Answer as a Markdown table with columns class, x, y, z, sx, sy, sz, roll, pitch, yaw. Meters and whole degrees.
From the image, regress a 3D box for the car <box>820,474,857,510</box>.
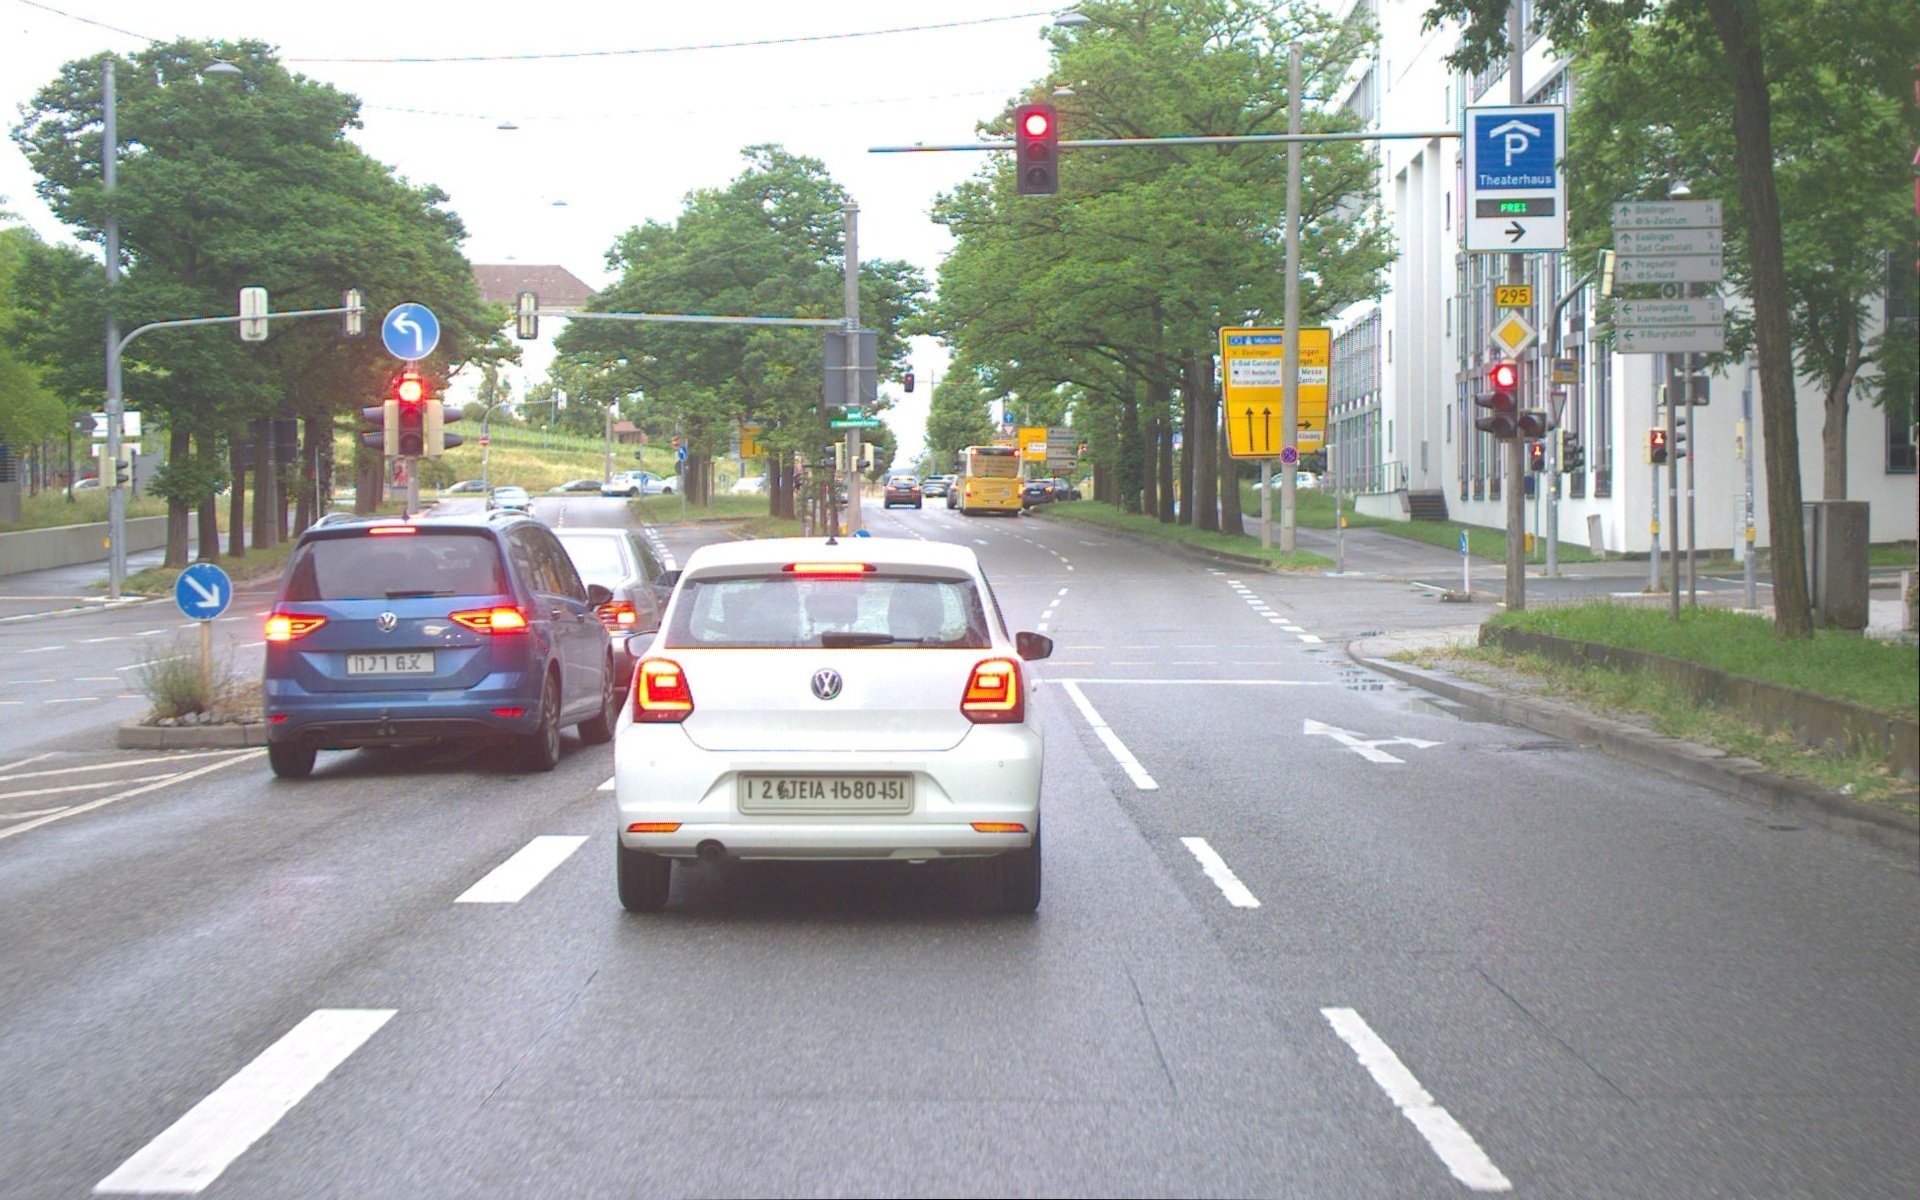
| class | x | y | z | sx | sy | sz | roll | pitch | yaw |
| --- | --- | --- | --- | --- | --- | --- | --- | --- | --- |
| car | -6.066 | -5.406 | 171.549 | 1.794 | 1.735 | 4.001 | -1 | 2 | -3 |

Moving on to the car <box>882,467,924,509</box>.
| class | x | y | z | sx | sy | sz | roll | pitch | yaw |
| --- | --- | --- | --- | --- | --- | --- | --- | --- | --- |
| car | -2.816 | -5.531 | 169.983 | 1.993 | 2.007 | 4.001 | -1 | 1 | -2 |

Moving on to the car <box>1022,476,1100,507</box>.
| class | x | y | z | sx | sy | sz | roll | pitch | yaw |
| --- | --- | --- | --- | --- | --- | --- | --- | --- | --- |
| car | 4.997 | -5.361 | 169.863 | 1.699 | 1.510 | 3.818 | 1 | 2 | 44 |

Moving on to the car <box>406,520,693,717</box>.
| class | x | y | z | sx | sy | sz | roll | pitch | yaw |
| --- | --- | --- | --- | --- | --- | --- | --- | --- | --- |
| car | -3.380 | 0.098 | 29.025 | 1.847 | 1.505 | 4.048 | -1 | 1 | 1 |

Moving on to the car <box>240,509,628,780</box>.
| class | x | y | z | sx | sy | sz | roll | pitch | yaw |
| --- | --- | --- | --- | --- | --- | --- | --- | --- | --- |
| car | -3.356 | 0.216 | 22.695 | 1.772 | 1.591 | 4.197 | -1 | 1 | 2 |

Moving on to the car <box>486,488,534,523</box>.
| class | x | y | z | sx | sy | sz | roll | pitch | yaw |
| --- | --- | --- | --- | --- | --- | --- | --- | --- | --- |
| car | -19.898 | -4.194 | 152.028 | 1.814 | 1.406 | 4.657 | -2 | 2 | -4 |

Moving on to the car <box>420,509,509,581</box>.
| class | x | y | z | sx | sy | sz | roll | pitch | yaw |
| --- | --- | --- | --- | --- | --- | --- | --- | --- | --- |
| car | -11.390 | -1.294 | 79.251 | 1.750 | 1.515 | 3.818 | -2 | 2 | -4 |

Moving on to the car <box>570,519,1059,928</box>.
| class | x | y | z | sx | sy | sz | roll | pitch | yaw |
| --- | --- | --- | --- | --- | --- | --- | --- | --- | --- |
| car | -0.555 | 0.408 | 14.618 | 1.794 | 1.497 | 4.000 | 0 | 1 | -1 |

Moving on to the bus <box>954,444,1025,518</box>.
| class | x | y | z | sx | sy | sz | roll | pitch | yaw |
| --- | --- | --- | --- | --- | --- | --- | --- | --- | --- |
| bus | 1.296 | -5.450 | 155.946 | 2.828 | 3.255 | 10.002 | 0 | 2 | -2 |

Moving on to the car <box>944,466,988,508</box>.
| class | x | y | z | sx | sy | sz | roll | pitch | yaw |
| --- | --- | --- | --- | --- | --- | --- | --- | --- | --- |
| car | 0.292 | -5.588 | 170.163 | 1.993 | 2.007 | 4.001 | -1 | 1 | -2 |
